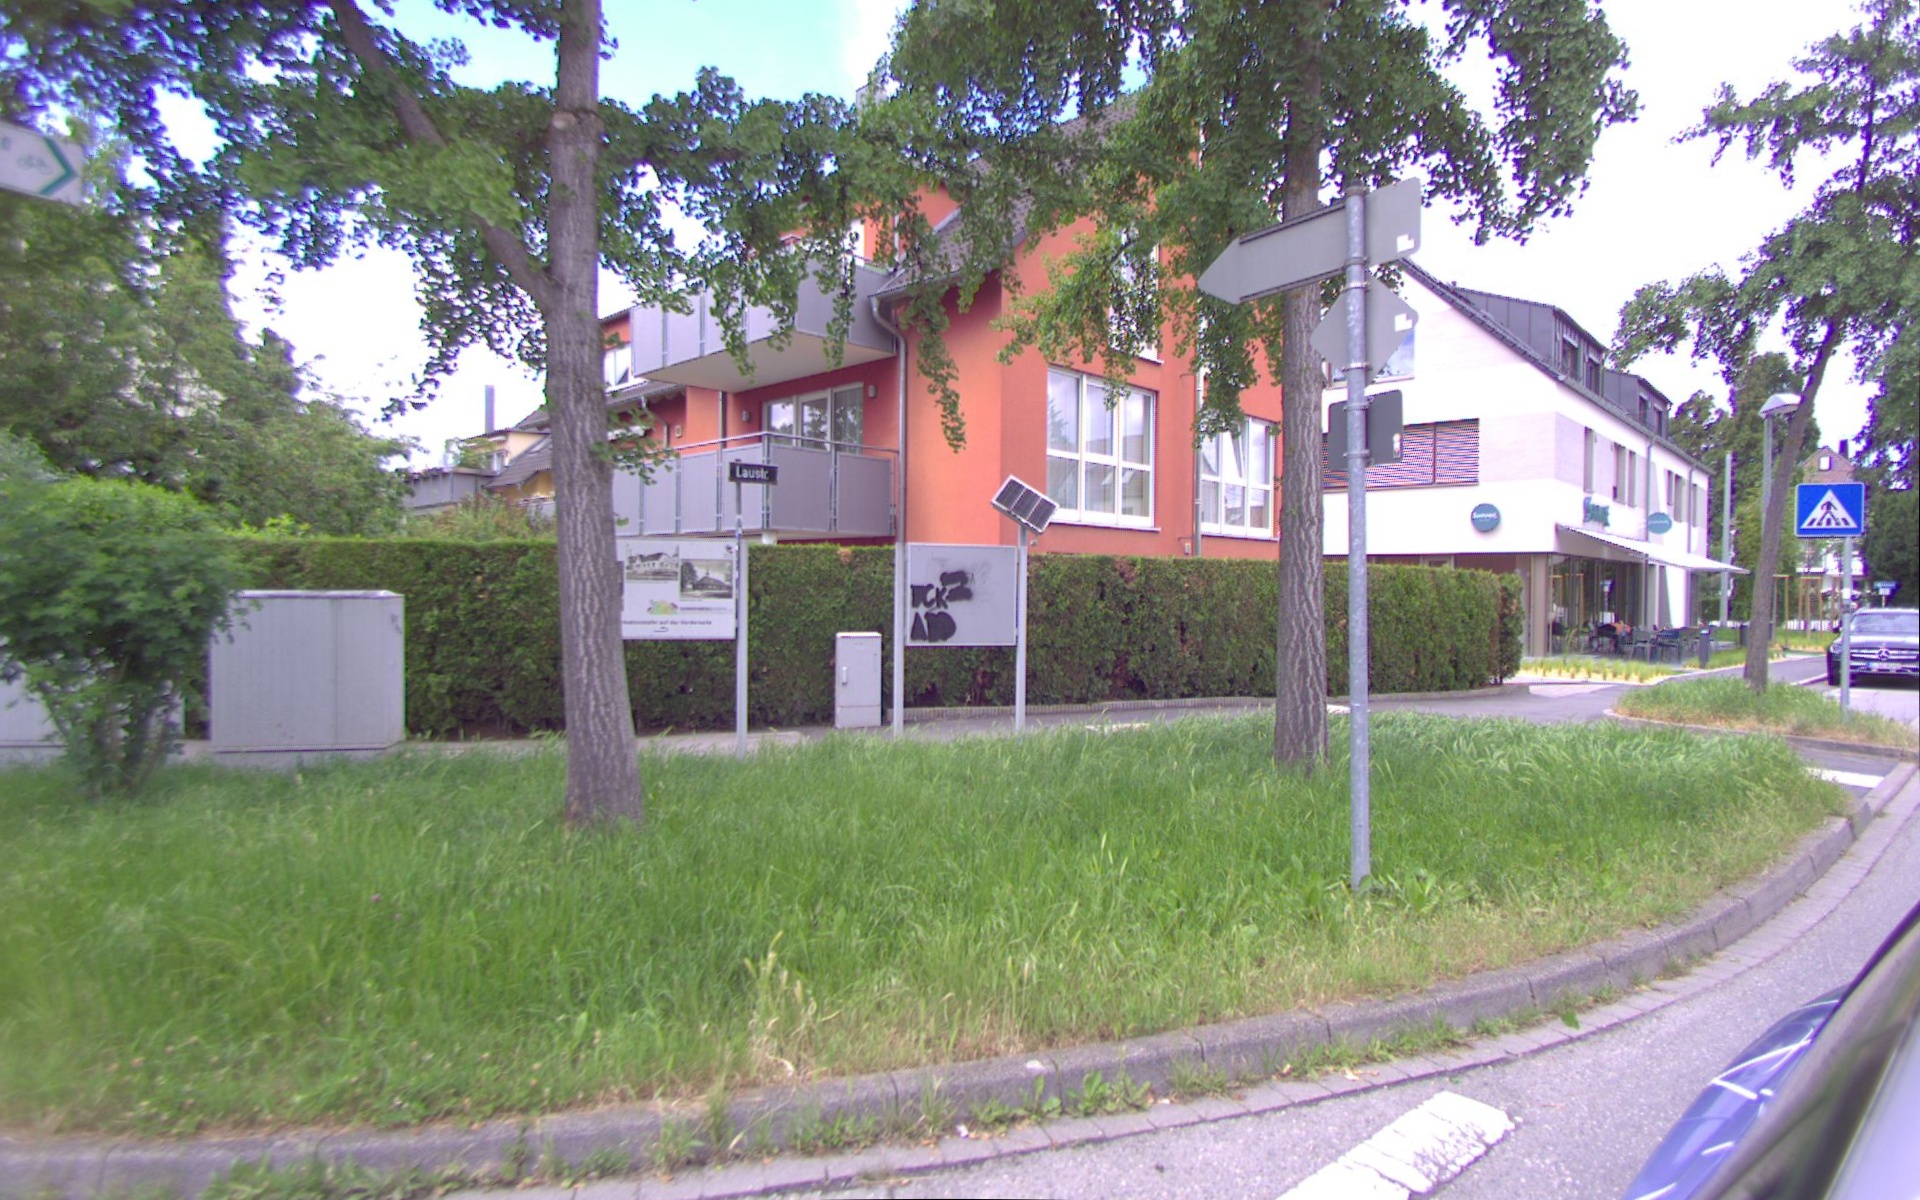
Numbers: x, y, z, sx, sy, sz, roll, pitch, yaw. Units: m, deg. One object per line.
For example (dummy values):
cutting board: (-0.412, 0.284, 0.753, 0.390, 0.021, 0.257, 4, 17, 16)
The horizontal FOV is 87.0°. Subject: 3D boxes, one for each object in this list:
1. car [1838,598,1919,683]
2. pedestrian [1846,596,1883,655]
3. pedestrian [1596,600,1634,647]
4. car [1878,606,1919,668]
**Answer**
car: (19.995, 0.787, 21.342, 4.391, 1.657, 1.848, 0, 0, -44)
pedestrian: (26.432, 0.734, 29.573, 0.648, 1.689, 0.677, 1, 1, -41)
pedestrian: (18.036, 0.641, 27.861, 0.751, 1.254, 0.681, 1, 1, 43)
car: (24.180, 0.885, 25.138, 3.770, 1.470, 1.709, 0, 0, -43)
